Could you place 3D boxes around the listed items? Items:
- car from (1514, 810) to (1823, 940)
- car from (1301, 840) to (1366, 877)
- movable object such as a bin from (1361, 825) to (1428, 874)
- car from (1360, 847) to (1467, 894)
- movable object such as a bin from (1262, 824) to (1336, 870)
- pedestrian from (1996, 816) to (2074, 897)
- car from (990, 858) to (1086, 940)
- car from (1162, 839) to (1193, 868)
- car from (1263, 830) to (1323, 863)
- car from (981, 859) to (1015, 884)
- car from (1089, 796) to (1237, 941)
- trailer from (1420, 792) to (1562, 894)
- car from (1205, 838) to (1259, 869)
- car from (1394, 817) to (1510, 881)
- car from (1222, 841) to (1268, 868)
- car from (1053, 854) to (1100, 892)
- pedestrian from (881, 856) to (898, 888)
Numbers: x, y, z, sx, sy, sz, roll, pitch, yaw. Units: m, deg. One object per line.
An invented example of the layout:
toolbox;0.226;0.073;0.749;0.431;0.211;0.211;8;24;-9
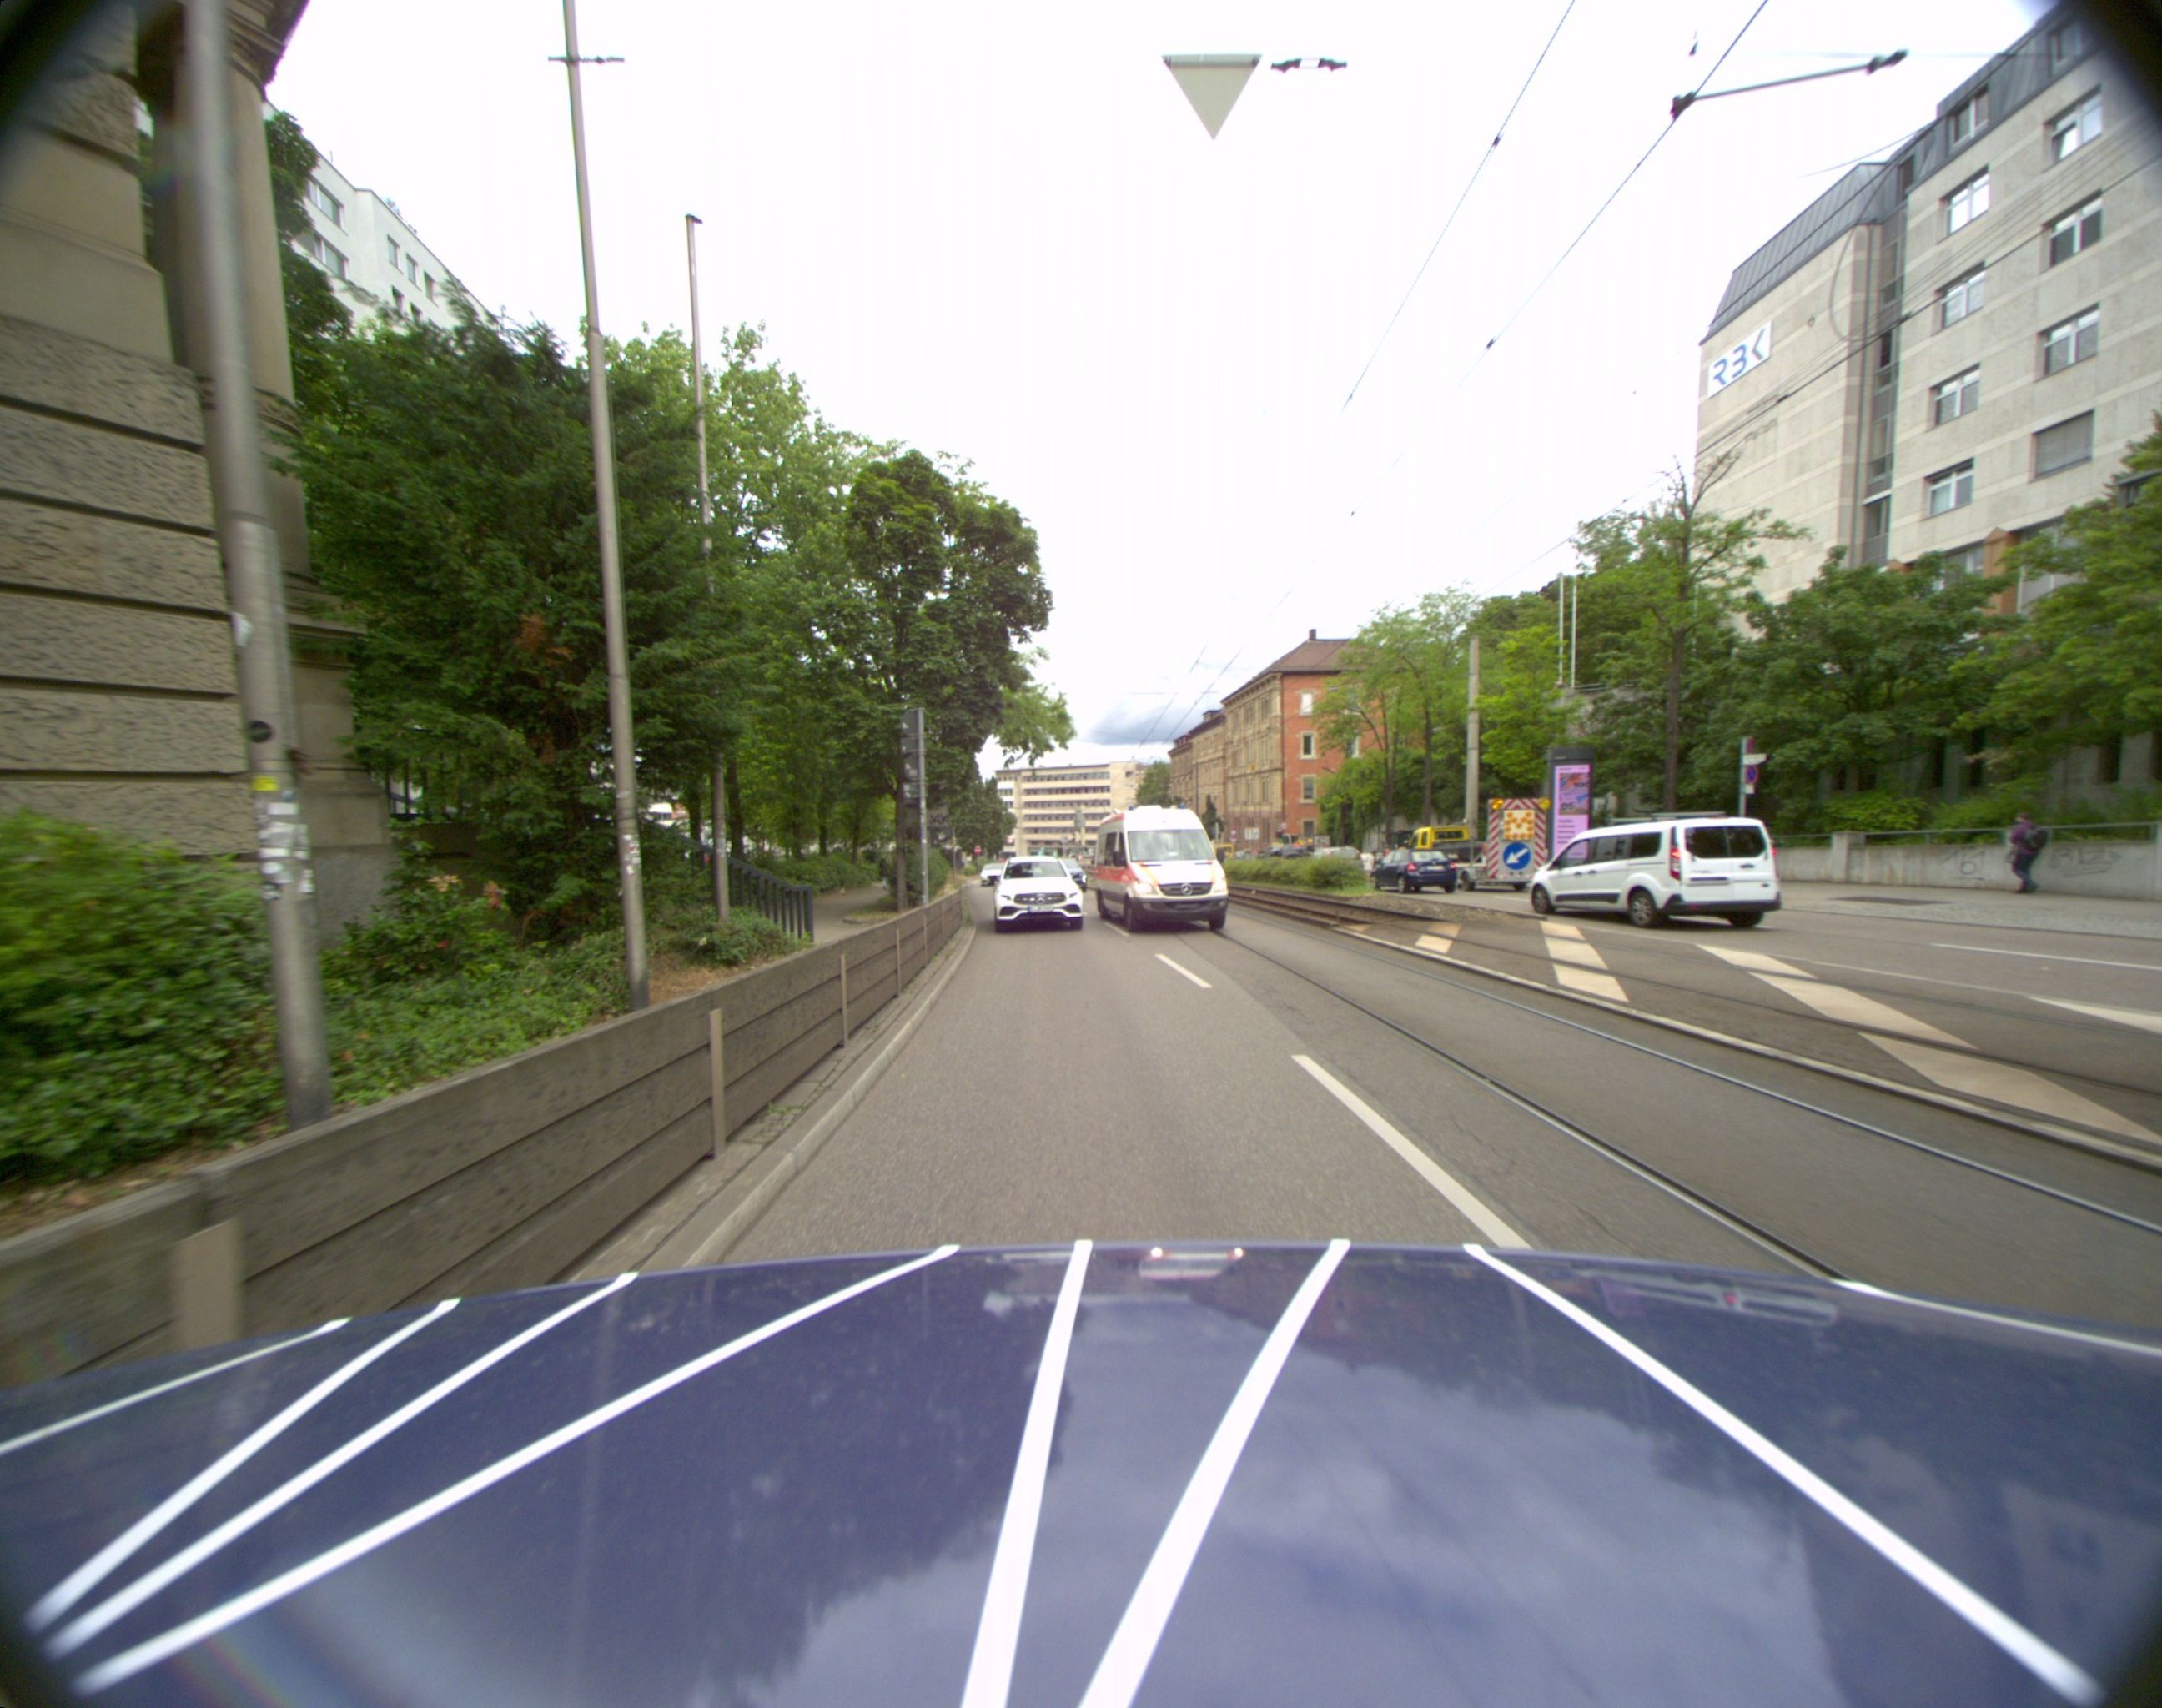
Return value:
car;10.359;0.337;14.061;1.952;1.935;5.003;-2;0;2
car;10.589;0.192;32.128;1.663;1.435;3.740;-1;0;3
movable object such as a bin;17.265;-0.210;42.020;1.938;2.453;4.098;-3;0;1
car;10.973;0.503;25.397;1.771;1.399;4.082;-1;0;0
movable object such as a bin;17.467;-0.511;61.303;2.756;3.527;6.541;-1;0;-14
pedestrian;18.952;0.048;15.109;0.657;1.551;0.729;-1;0;-6
car;-1.034;0.926;17.758;1.895;1.610;4.477;-2;0;-4
car;10.060;-0.044;79.414;2.215;2.806;4.782;-1;0;-4
car;11.074;-0.348;40.031;1.998;1.595;4.610;-1;0;2
car;-5.266;1.092;48.502;1.822;1.440;3.852;-1;0;-2
car;1.597;0.292;17.371;2.040;2.684;5.851;-2;0;-7
trailer;13.515;-0.344;25.535;2.024;2.956;5.591;-3;0;5
car;12.683;-0.016;64.581;2.448;2.422;6.749;-2;0;-7
car;16.526;-0.196;34.316;2.162;2.578;6.336;-1;0;1
car;10.395;0.023;48.549;1.998;1.595;4.620;-1;0;1
car;-0.289;0.835;35.749;1.931;1.563;4.179;-3;0;-3
pedestrian;-10.178;0.952;40.403;0.774;1.693;0.784;-1;0;-9
